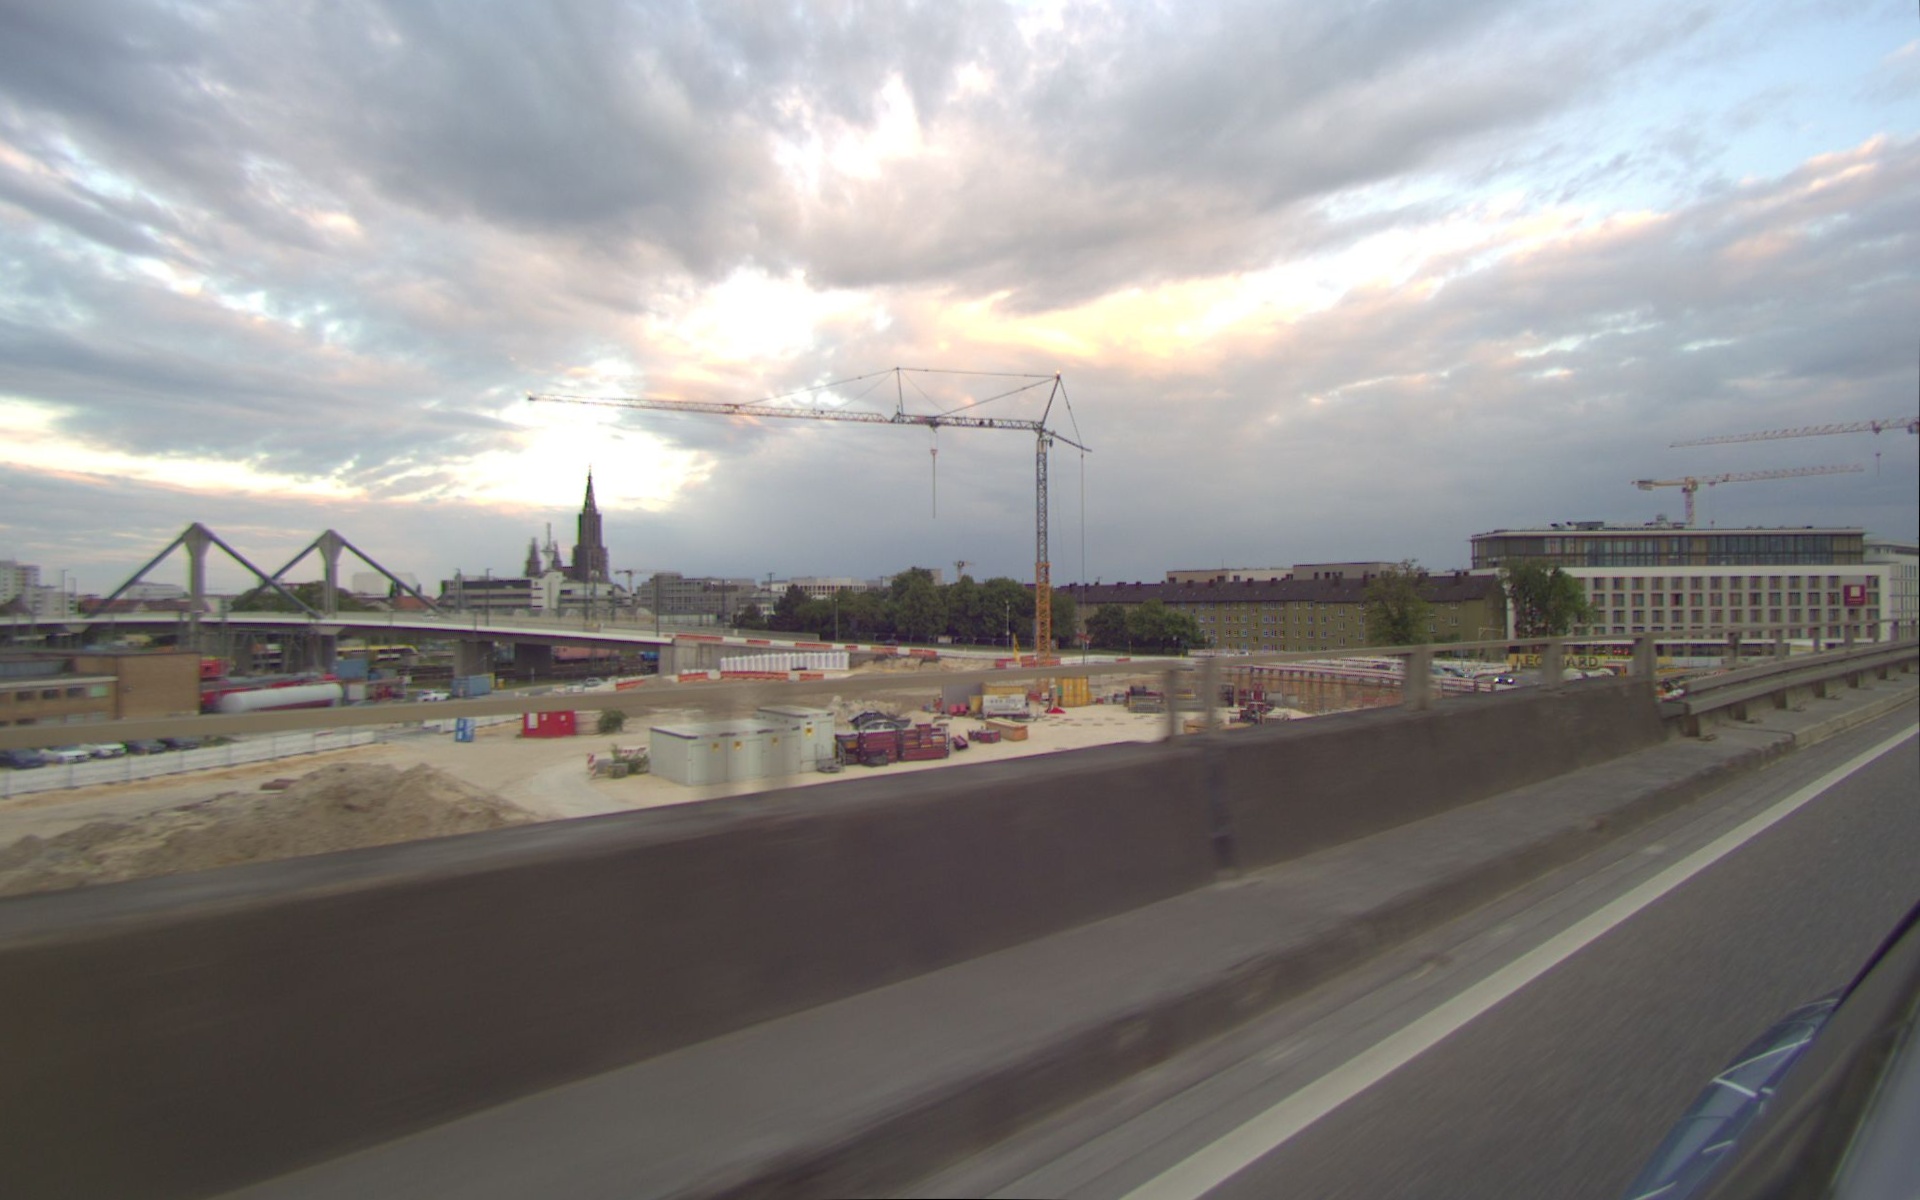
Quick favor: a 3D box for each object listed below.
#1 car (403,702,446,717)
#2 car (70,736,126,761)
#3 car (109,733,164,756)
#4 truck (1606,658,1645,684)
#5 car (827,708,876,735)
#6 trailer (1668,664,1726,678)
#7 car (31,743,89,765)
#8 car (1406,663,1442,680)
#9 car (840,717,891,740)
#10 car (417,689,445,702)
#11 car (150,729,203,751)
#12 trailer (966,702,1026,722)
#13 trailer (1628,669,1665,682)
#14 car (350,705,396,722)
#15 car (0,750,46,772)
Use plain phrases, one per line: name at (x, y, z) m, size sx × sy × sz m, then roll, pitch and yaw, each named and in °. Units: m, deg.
car at (-61.388, 12.526, 116.047) m, size 4.280 × 1.540 × 1.863 m, roll -2°, pitch -1°, yaw 14°
car at (-72.651, 12.535, 85.308) m, size 3.946 × 1.738 × 1.859 m, roll -6°, pitch -6°, yaw 18°
car at (-71.403, 12.520, 87.774) m, size 3.946 × 1.674 × 1.859 m, roll -6°, pitch -6°, yaw 18°
truck at (79.630, 8.457, 121.009) m, size 7.212 × 2.987 × 2.159 m, roll 2°, pitch -4°, yaw -43°
car at (-9.131, 10.215, 85.182) m, size 3.917 × 1.948 × 1.687 m, roll -3°, pitch -5°, yaw -11°
trailer at (91.814, 8.869, 126.179) m, size 5.833 × 1.365 × 2.002 m, roll 0°, pitch 0°, yaw 34°
car at (-73.430, 12.532, 82.586) m, size 3.946 × 1.439 × 1.859 m, roll -6°, pitch -5°, yaw 18°
car at (56.047, 8.602, 122.267) m, size 1.611 × 1.761 × 3.800 m, roll 0°, pitch -1°, yaw -24°
car at (-7.307, 9.888, 78.074) m, size 3.718 × 1.461 × 1.530 m, roll -3°, pitch -5°, yaw -12°
car at (-70.080, 12.689, 134.222) m, size 1.415 × 1.597 × 3.673 m, roll -5°, pitch -5°, yaw 8°
car at (-70.009, 12.499, 90.420) m, size 3.946 × 1.674 × 1.859 m, roll -6°, pitch -6°, yaw 18°
trailer at (2.711, 8.491, 76.601) m, size 4.163 × 1.257 × 1.787 m, roll 0°, pitch -2°, yaw -12°
trailer at (85.426, 9.424, 125.992) m, size 5.764 × 1.366 × 1.997 m, roll 1°, pitch -7°, yaw -38°
car at (-64.899, 12.549, 111.869) m, size 4.280 × 1.540 × 1.863 m, roll -2°, pitch -1°, yaw 14°
car at (-74.591, 12.730, 79.930) m, size 3.946 × 1.439 × 1.859 m, roll -6°, pitch -5°, yaw 18°
